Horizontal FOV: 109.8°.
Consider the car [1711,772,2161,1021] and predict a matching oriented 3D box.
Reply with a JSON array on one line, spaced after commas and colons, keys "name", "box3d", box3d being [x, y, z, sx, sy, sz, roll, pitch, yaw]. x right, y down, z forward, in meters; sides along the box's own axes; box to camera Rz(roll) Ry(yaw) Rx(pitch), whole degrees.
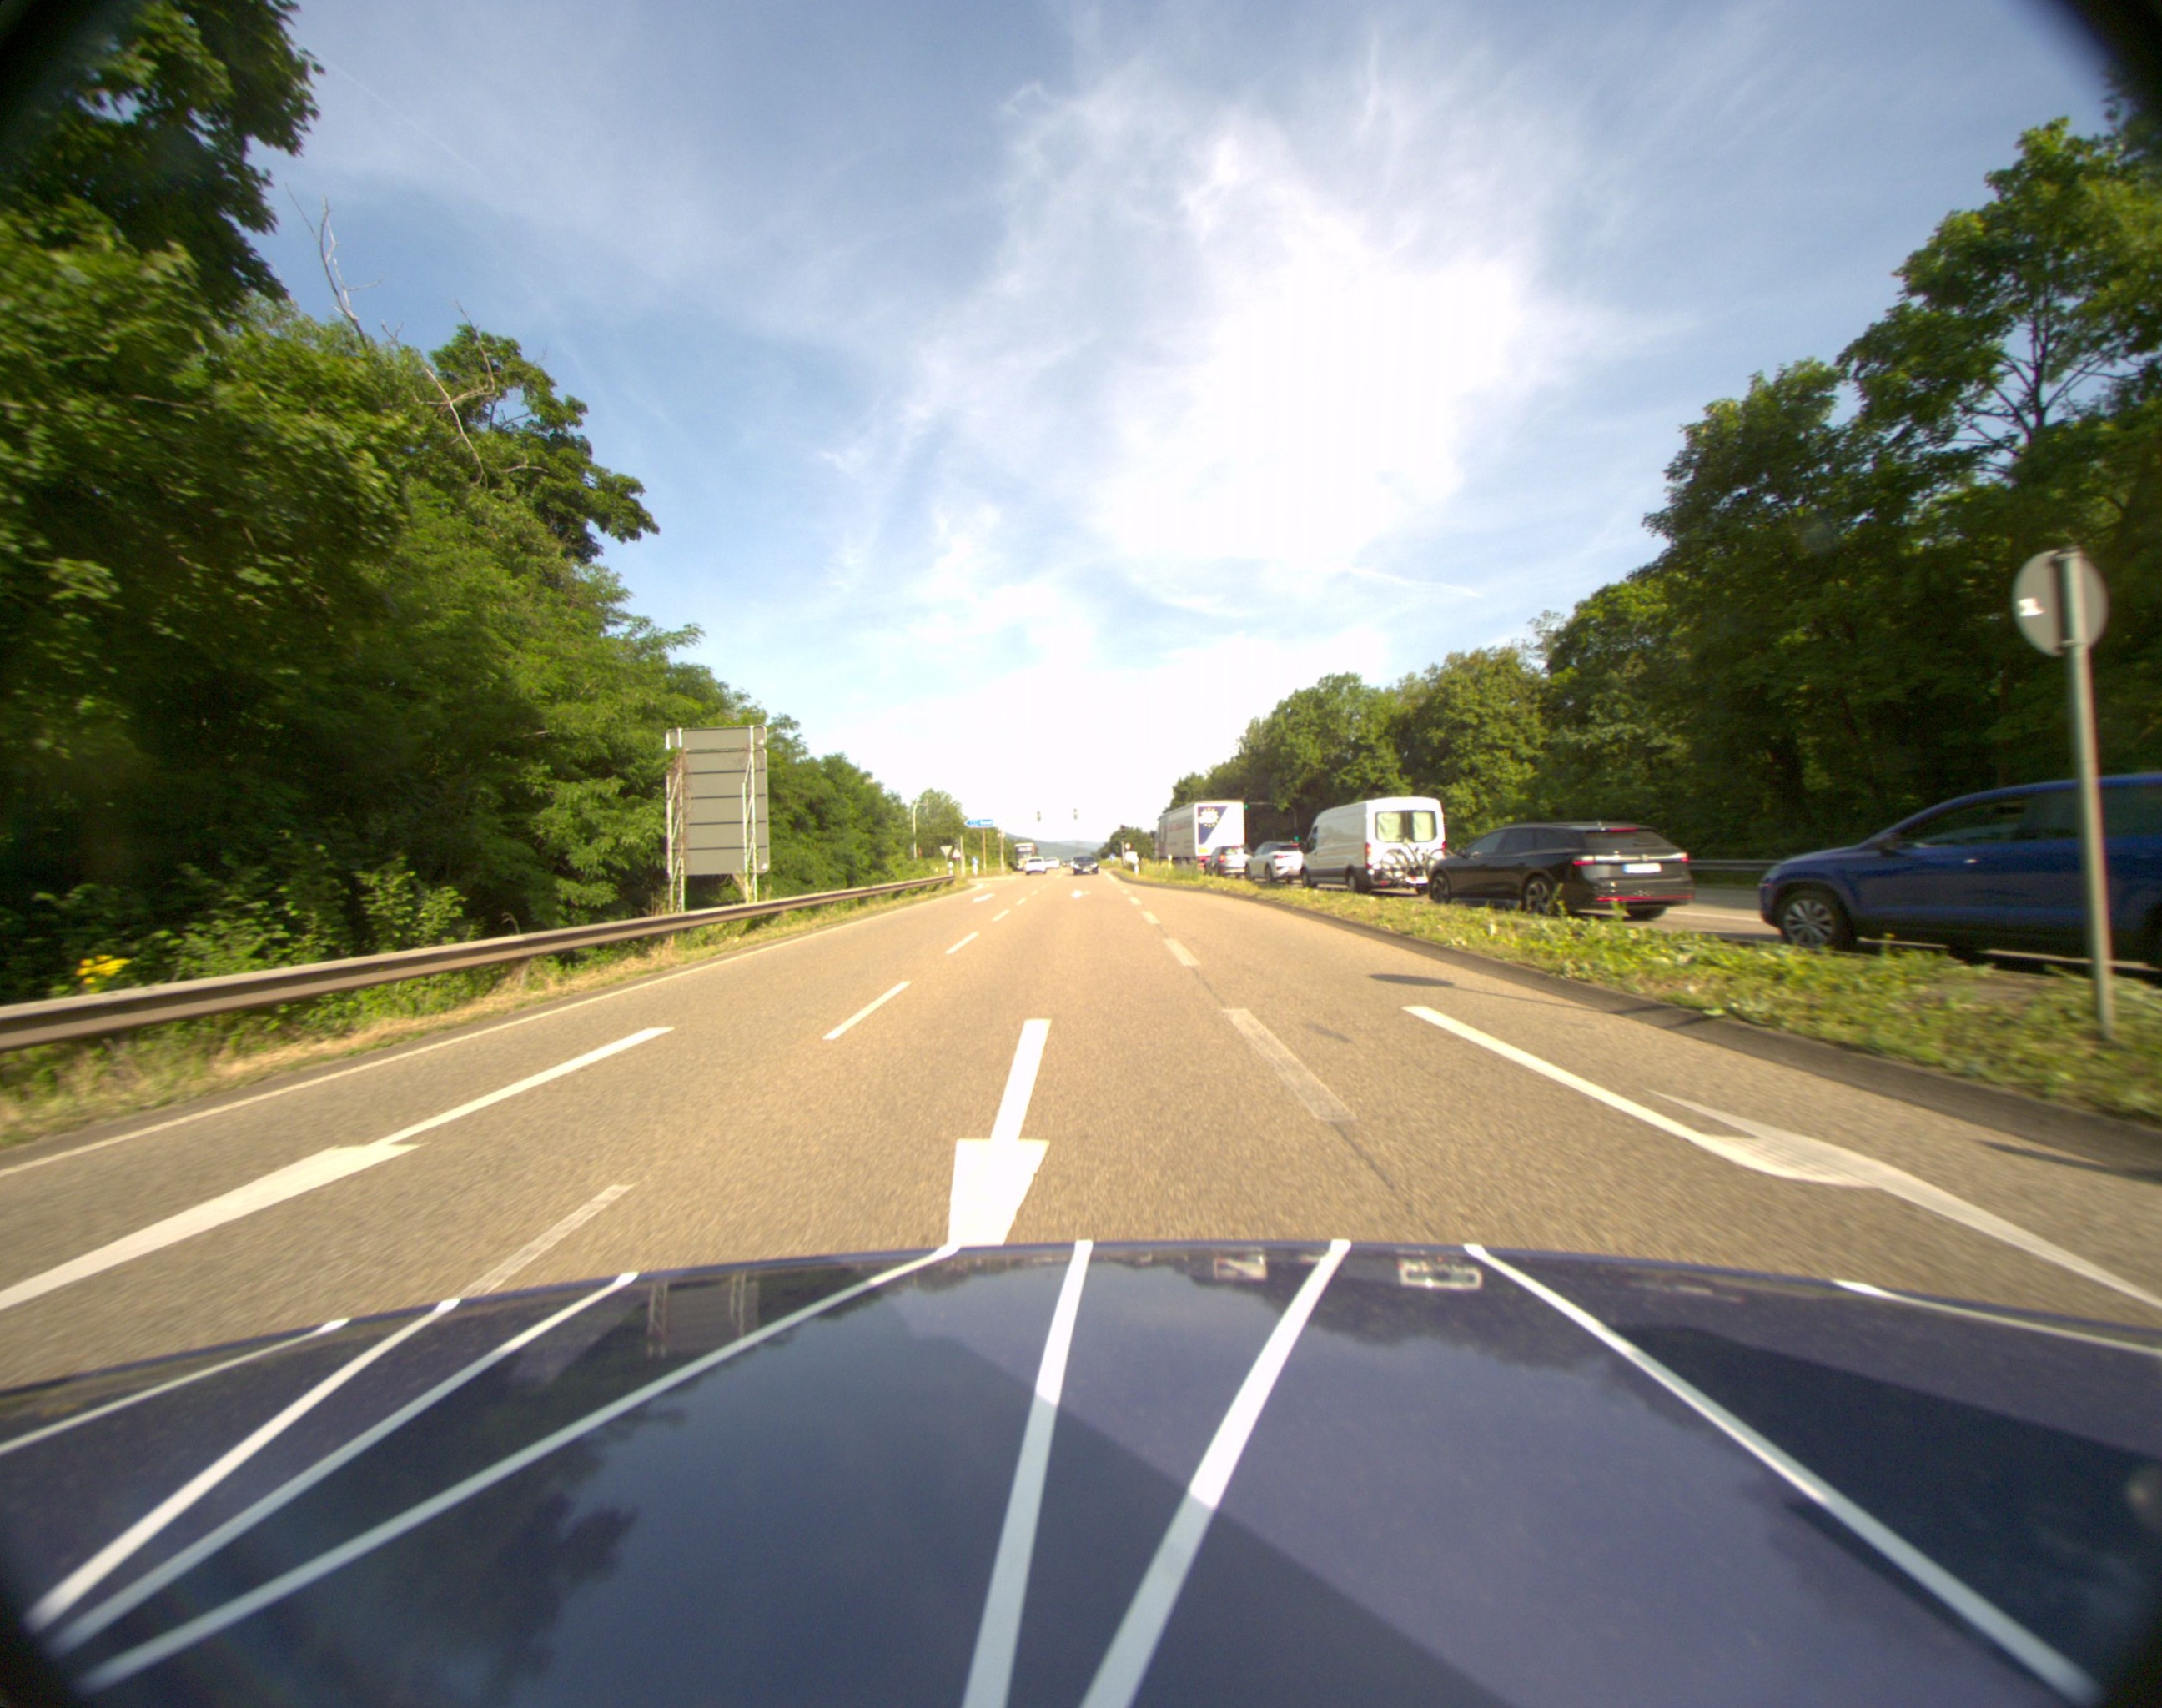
[{"name": "car", "box3d": [8.070, 0.268, 6.197, 1.776, 1.659, 4.800, -2, 0, -1]}]

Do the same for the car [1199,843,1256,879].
[{"name": "car", "box3d": [6.979, 0.328, 36.652, 1.705, 1.622, 4.370, -2, 0, -3]}]

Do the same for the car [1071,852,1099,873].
[{"name": "car", "box3d": [0.235, 0.646, 58.141, 1.862, 1.452, 4.568, -4, 0, -2]}]

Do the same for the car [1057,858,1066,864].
[{"name": "car", "box3d": [-5.316, 1.950, 207.106, 1.999, 1.632, 3.999, -4, 0, -4]}]

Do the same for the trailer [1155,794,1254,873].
[{"name": "trailer", "box3d": [7.200, -1.060, 47.035, 3.000, 3.972, 14.011, -4, 0, -3]}]

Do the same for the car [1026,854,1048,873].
[{"name": "car", "box3d": [-4.048, 0.886, 69.646, 1.875, 1.625, 4.833, -2, 0, -3]}]

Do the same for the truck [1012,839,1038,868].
[{"name": "truck", "box3d": [-8.585, -0.012, 117.990, 3.197, 3.995, 14.561, -4, 0, -2]}]

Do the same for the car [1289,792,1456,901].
[{"name": "car", "box3d": [7.780, -0.158, 21.138, 2.080, 2.519, 6.163, -2, 0, -1]}]

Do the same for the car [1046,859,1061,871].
[{"name": "car", "box3d": [-4.228, 1.600, 115.665, 1.999, 1.632, 3.999, -4, 0, -4]}]

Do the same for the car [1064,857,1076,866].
[{"name": "car", "box3d": [-2.283, 1.535, 156.357, 1.999, 1.632, 3.999, -4, 0, -4]}]

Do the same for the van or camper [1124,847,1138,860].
[{"name": "van or camper", "box3d": [10.713, -0.111, 163.019, 2.419, 2.695, 6.436, 0, 0, -1]}]

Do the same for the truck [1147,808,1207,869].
[{"name": "truck", "box3d": [6.828, -1.011, 55.120, 2.899, 3.974, 6.720, -4, 0, -3]}]

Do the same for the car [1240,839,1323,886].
[{"name": "car", "box3d": [7.544, 0.306, 29.056, 1.705, 1.622, 4.746, -2, 0, -3]}]

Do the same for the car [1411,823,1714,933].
[{"name": "car", "box3d": [7.718, 0.345, 12.990, 1.765, 1.448, 5.185, -2, 0, -1]}]

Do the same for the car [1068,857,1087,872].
[{"name": "car", "box3d": [-0.395, 1.248, 90.302, 1.999, 1.632, 3.999, -4, 0, -2]}]
